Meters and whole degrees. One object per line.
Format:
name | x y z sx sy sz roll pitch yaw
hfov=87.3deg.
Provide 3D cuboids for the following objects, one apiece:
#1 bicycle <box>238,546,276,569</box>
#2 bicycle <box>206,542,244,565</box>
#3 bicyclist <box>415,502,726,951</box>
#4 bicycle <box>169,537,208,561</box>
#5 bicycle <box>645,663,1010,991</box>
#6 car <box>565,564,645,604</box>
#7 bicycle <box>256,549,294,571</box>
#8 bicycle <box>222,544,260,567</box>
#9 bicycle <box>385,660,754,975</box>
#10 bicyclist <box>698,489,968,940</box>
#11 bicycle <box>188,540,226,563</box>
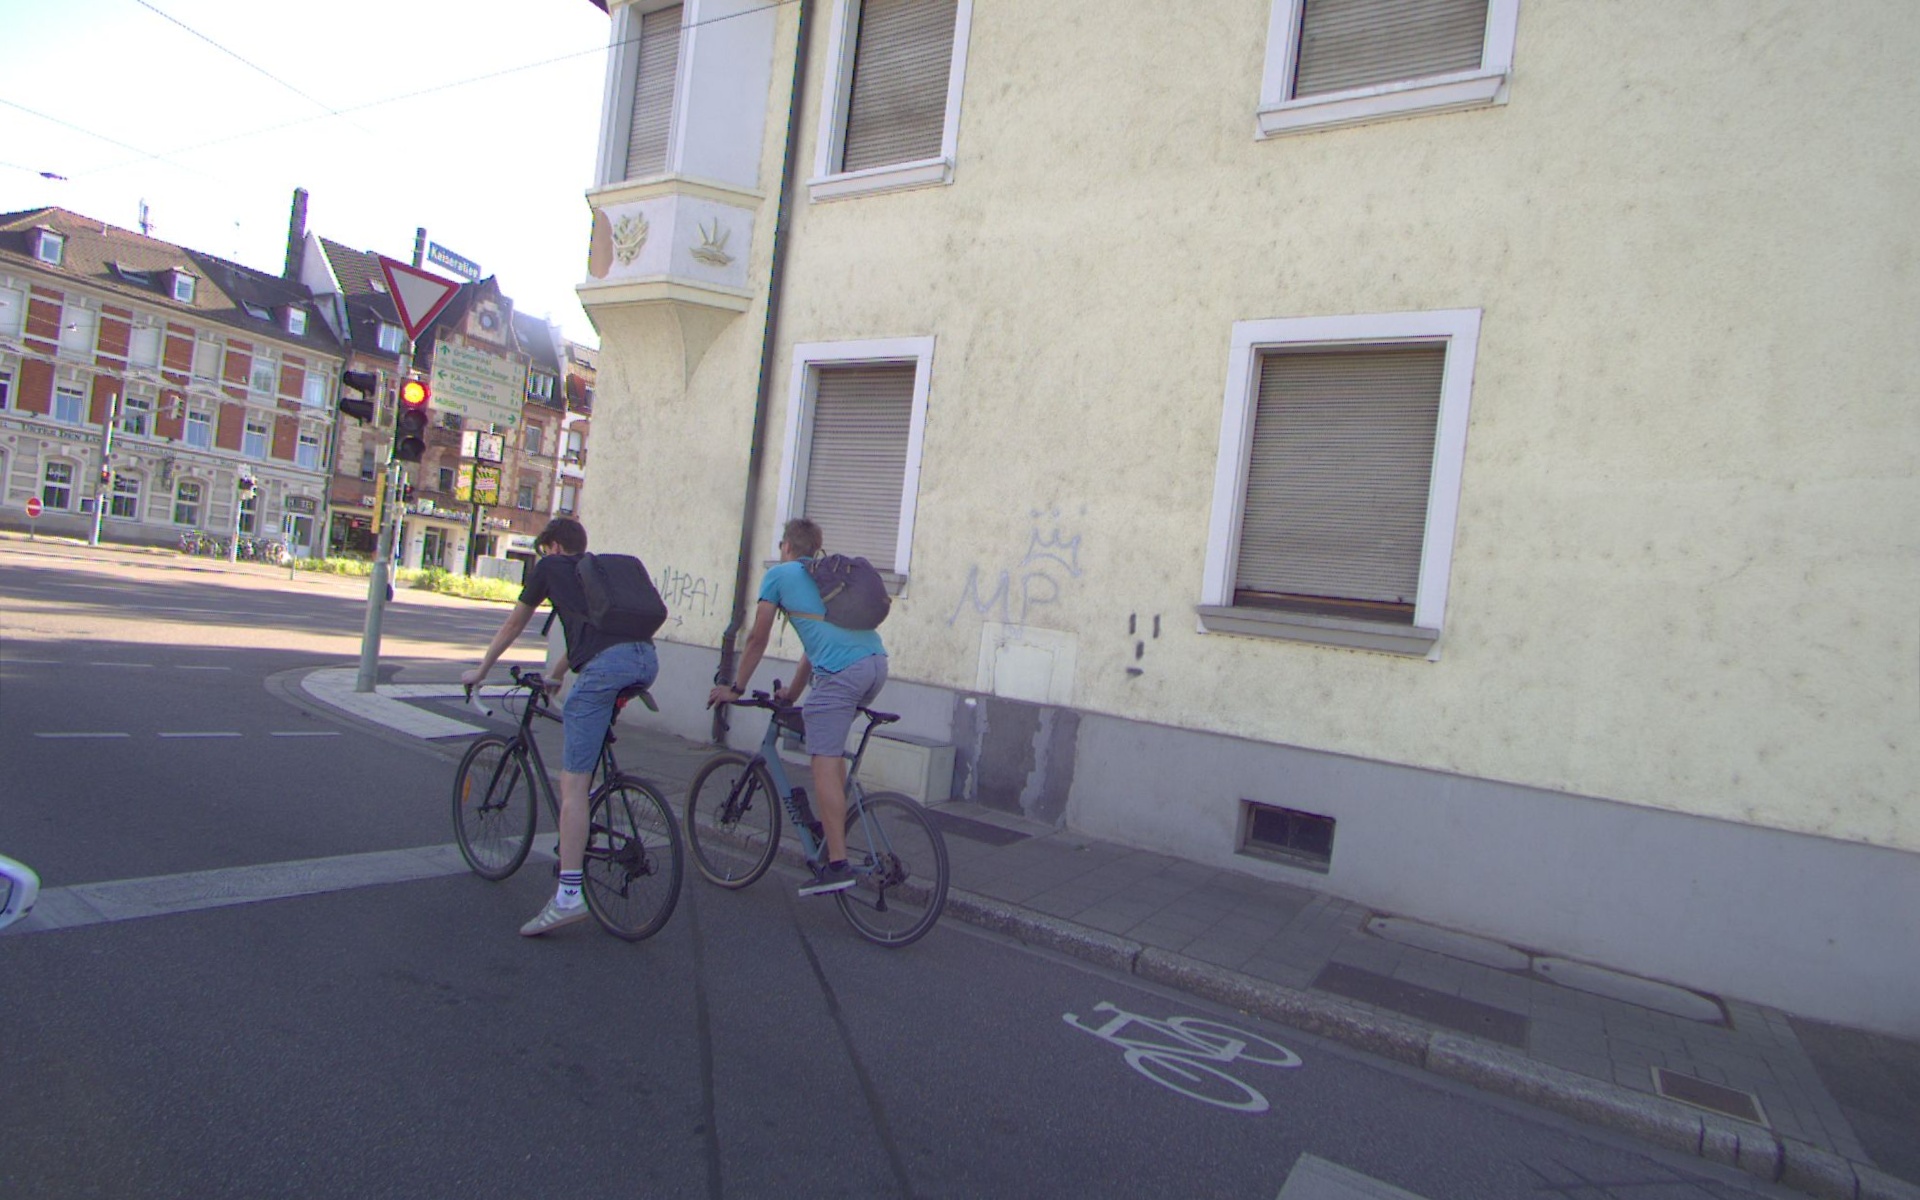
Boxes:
bicycle | -33.484 -2.024 47.889 2.125 0.850 0.659 6 -2 33
bicycle | -34.174 -2.160 46.762 2.125 0.850 0.659 6 -2 33
bicyclist | -1.741 0.493 4.479 1.098 1.722 0.573 7 0 32
bicycle | -34.864 -2.302 45.474 2.125 0.850 0.659 6 -2 33
bicycle | -0.709 1.012 4.957 1.767 1.104 0.518 9 1 35
car | -23.004 -1.004 65.319 1.968 2.038 4.430 7 -1 34
bicycle | -33.096 -1.945 48.594 2.125 0.850 0.659 6 -2 33
bicycle | -33.840 -2.092 47.358 2.125 0.850 0.659 6 -2 33
bicycle | -1.789 0.877 4.500 1.721 0.982 0.519 7 0 32
bicyclist | -0.635 0.508 4.947 0.930 1.958 0.518 10 2 35
bicycle | -34.547 -2.234 46.141 2.125 0.850 0.659 6 -2 33
